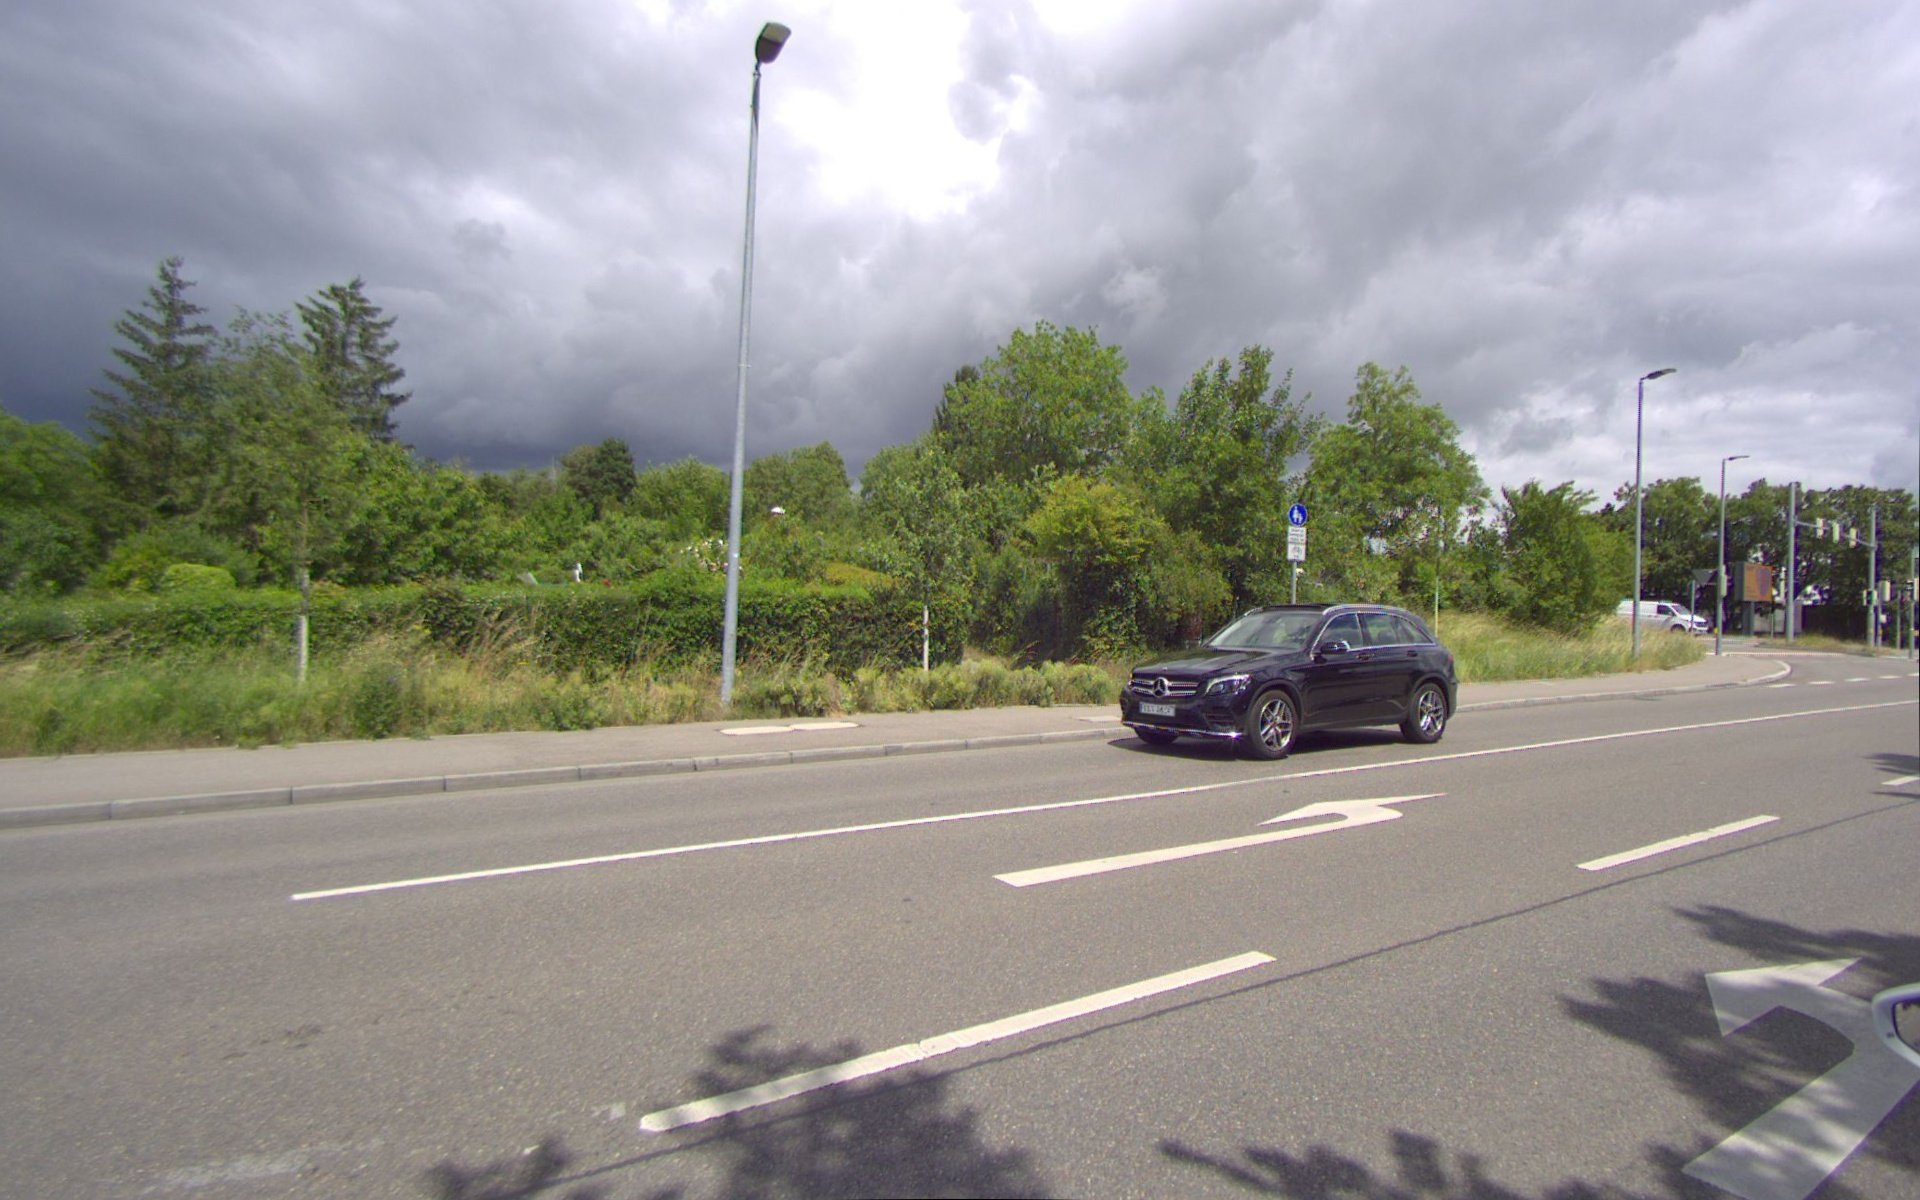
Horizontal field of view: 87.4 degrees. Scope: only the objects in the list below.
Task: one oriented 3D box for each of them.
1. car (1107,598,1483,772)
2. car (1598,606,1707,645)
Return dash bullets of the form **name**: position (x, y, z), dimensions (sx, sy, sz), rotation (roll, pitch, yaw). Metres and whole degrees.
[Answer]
- **car**: position (4.007, 0.926, 11.740), dimensions (4.485, 1.676, 1.810), rotation (2, -3, -34)
- **car**: position (40.970, 1.469, 59.569), dimensions (1.890, 1.963, 4.928), rotation (3, 1, -31)
